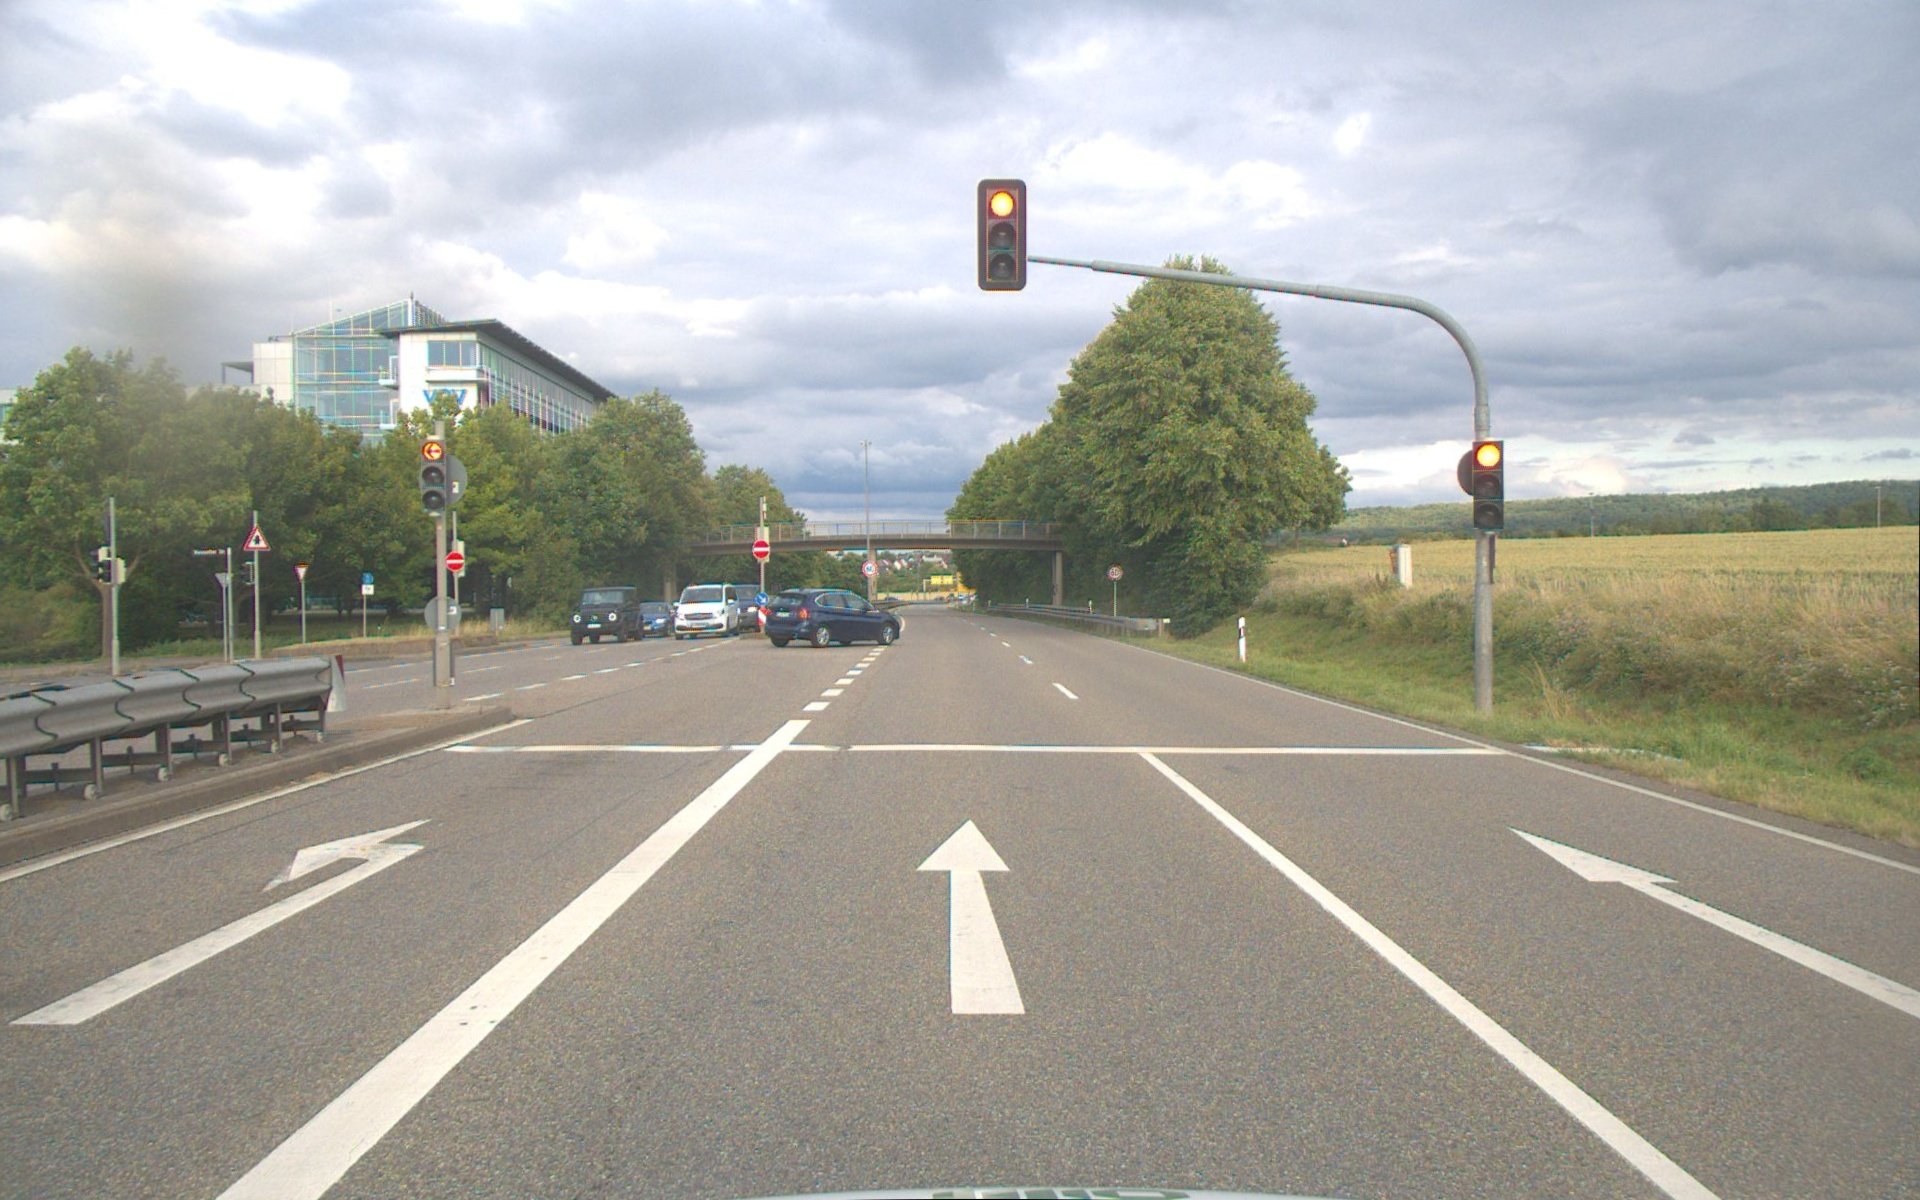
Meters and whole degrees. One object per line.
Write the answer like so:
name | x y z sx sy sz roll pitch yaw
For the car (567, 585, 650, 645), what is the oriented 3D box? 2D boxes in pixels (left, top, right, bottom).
car | -12.706 0.533 60.076 2.041 2.049 5.214 1 0 -2

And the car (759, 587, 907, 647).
car | -3.479 0.462 45.913 1.851 1.579 3.979 1 0 39

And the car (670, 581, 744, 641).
car | -9.147 0.382 60.235 2.041 2.049 5.214 1 0 -2

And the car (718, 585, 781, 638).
car | -8.591 0.459 67.979 2.041 2.049 5.214 1 0 -2

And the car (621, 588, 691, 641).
car | -12.356 0.561 67.581 2.041 2.049 5.214 1 0 -2
